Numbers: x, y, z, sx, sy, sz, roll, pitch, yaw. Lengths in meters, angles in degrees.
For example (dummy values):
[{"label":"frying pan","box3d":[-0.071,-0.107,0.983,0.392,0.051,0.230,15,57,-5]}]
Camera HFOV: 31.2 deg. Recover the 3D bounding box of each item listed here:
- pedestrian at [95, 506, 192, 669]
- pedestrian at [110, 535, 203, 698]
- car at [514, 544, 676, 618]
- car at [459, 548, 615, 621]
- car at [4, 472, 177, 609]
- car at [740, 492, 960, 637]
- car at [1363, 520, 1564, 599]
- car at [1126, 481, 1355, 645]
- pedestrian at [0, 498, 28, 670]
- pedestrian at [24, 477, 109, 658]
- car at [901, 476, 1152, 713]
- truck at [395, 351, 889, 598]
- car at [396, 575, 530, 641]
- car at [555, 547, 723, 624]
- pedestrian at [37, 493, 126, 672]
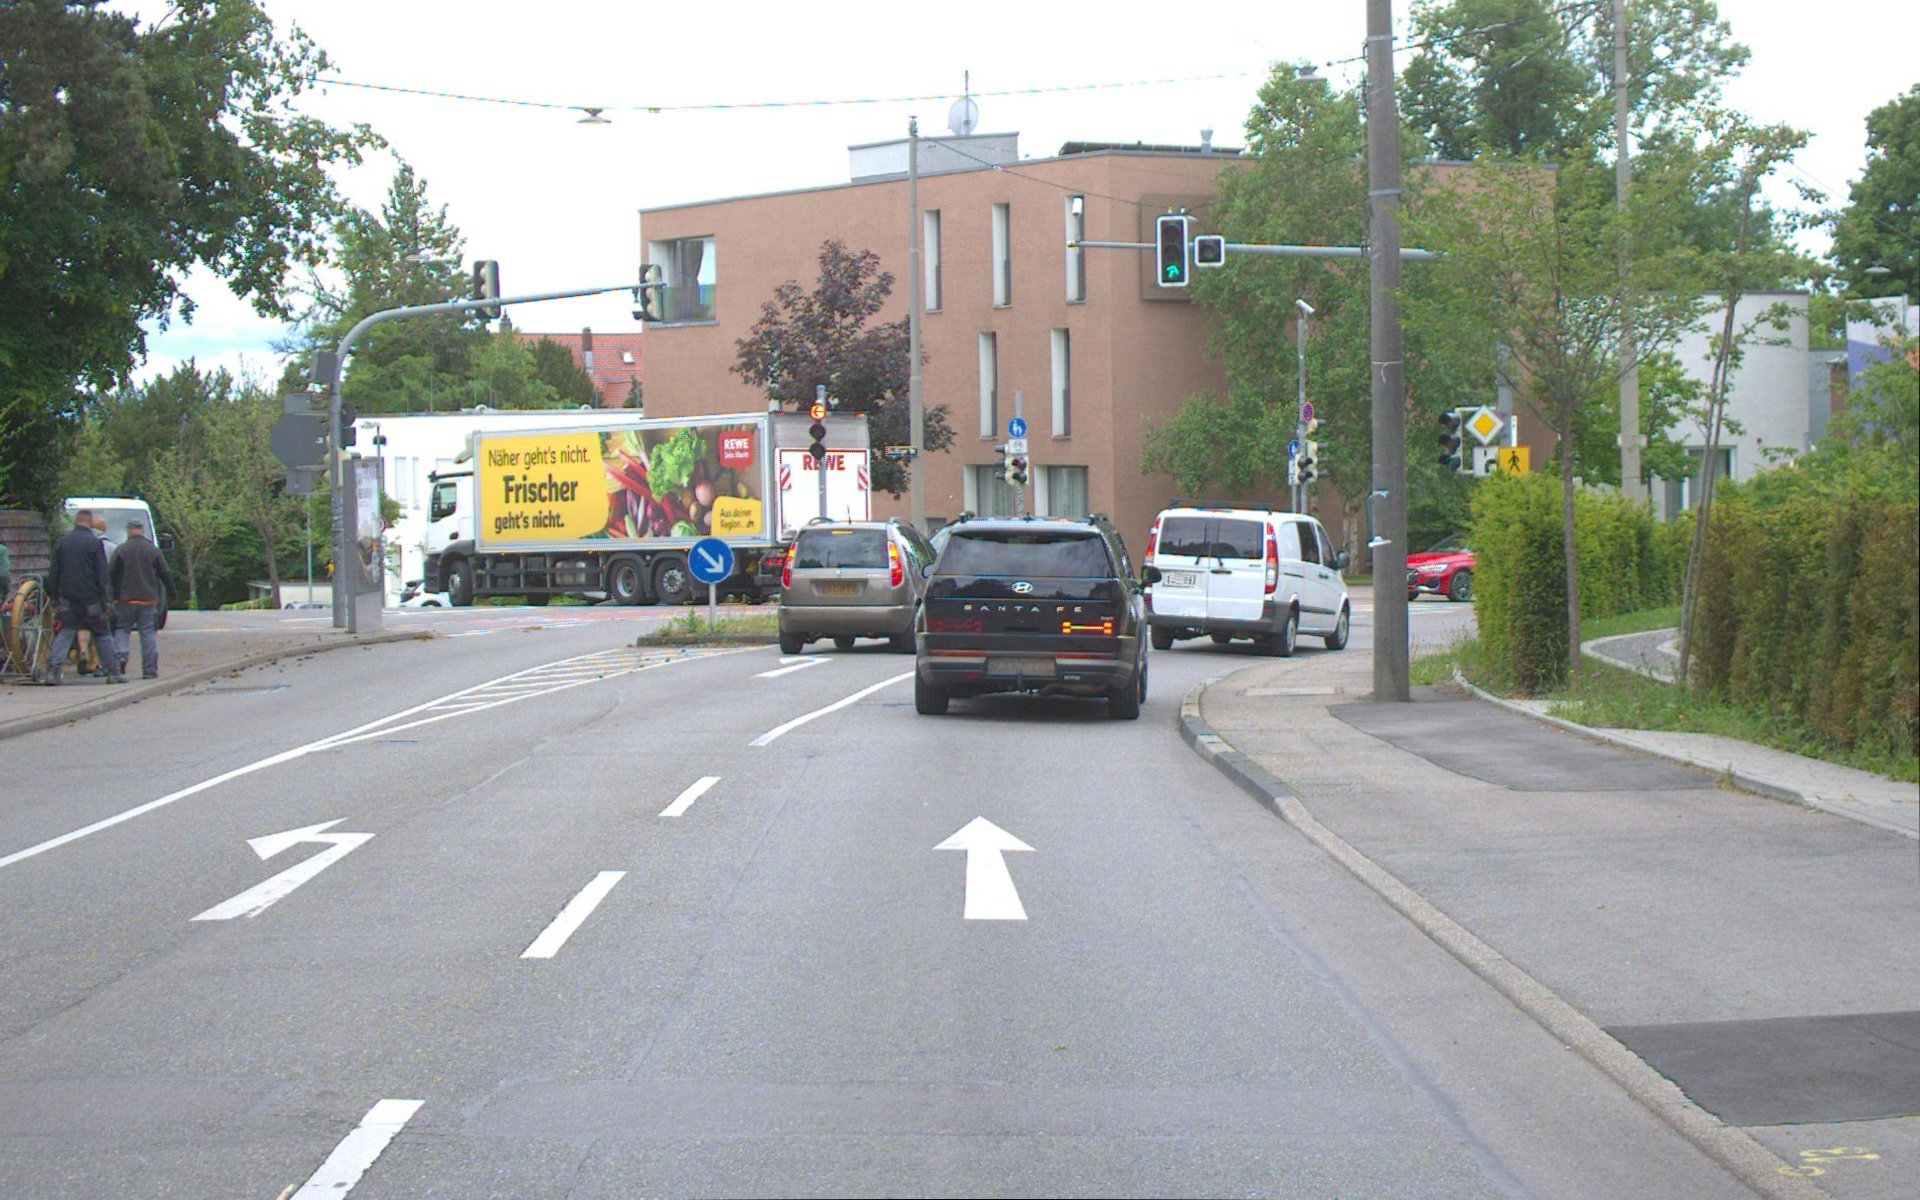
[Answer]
[{"label":"pedestrian","box3d":[-8.758,-0.141,36.892,0.695,1.728,0.750,1,1,44]},{"label":"pedestrian","box3d":[-8.731,0.169,37.335,0.869,1.747,0.694,0,1,-24]},{"label":"car","box3d":[-10.072,-0.531,94.865,3.986,2.007,2.000,0,1,-29]},{"label":"car","box3d":[-12.197,-0.462,99.152,3.986,2.007,2.000,-1,1,-28]},{"label":"car","box3d":[-15.009,-1.017,59.071,2.280,2.220,6.473,0,1,-20]},{"label":"car","box3d":[-1.302,-0.445,42.500,1.894,1.700,3.998,0,1,11]},{"label":"car","box3d":[10.298,-0.829,70.113,1.999,1.559,4.207,1,1,43]},{"label":"car","box3d":[3.816,-0.537,46.141,1.963,2.006,4.424,3,2,19]},{"label":"pedestrian","box3d":[-10.104,-0.172,35.471,0.815,1.757,0.868,-1,1,-23]},{"label":"pedestrian","box3d":[-10.014,-0.366,38.560,0.705,2.007,0.813,0,1,3]},{"label":"car","box3d":[0.521,-0.095,30.235,1.993,1.875,4.000,2,1,-1]},{"label":"truck","box3d":[-6.762,-2.493,70.836,11.786,4.718,3.127,1,1,43]},{"label":"car","box3d":[-15.810,0.235,109.297,3.986,2.007,2.001,-1,1,-16]},{"label":"car","box3d":[-8.602,-0.410,92.147,3.986,2.007,2.000,-1,1,-28]},{"label":"pedestrian","box3d":[-9.098,-0.187,35.611,0.750,1.831,0.614,-1,1,-29]}]
